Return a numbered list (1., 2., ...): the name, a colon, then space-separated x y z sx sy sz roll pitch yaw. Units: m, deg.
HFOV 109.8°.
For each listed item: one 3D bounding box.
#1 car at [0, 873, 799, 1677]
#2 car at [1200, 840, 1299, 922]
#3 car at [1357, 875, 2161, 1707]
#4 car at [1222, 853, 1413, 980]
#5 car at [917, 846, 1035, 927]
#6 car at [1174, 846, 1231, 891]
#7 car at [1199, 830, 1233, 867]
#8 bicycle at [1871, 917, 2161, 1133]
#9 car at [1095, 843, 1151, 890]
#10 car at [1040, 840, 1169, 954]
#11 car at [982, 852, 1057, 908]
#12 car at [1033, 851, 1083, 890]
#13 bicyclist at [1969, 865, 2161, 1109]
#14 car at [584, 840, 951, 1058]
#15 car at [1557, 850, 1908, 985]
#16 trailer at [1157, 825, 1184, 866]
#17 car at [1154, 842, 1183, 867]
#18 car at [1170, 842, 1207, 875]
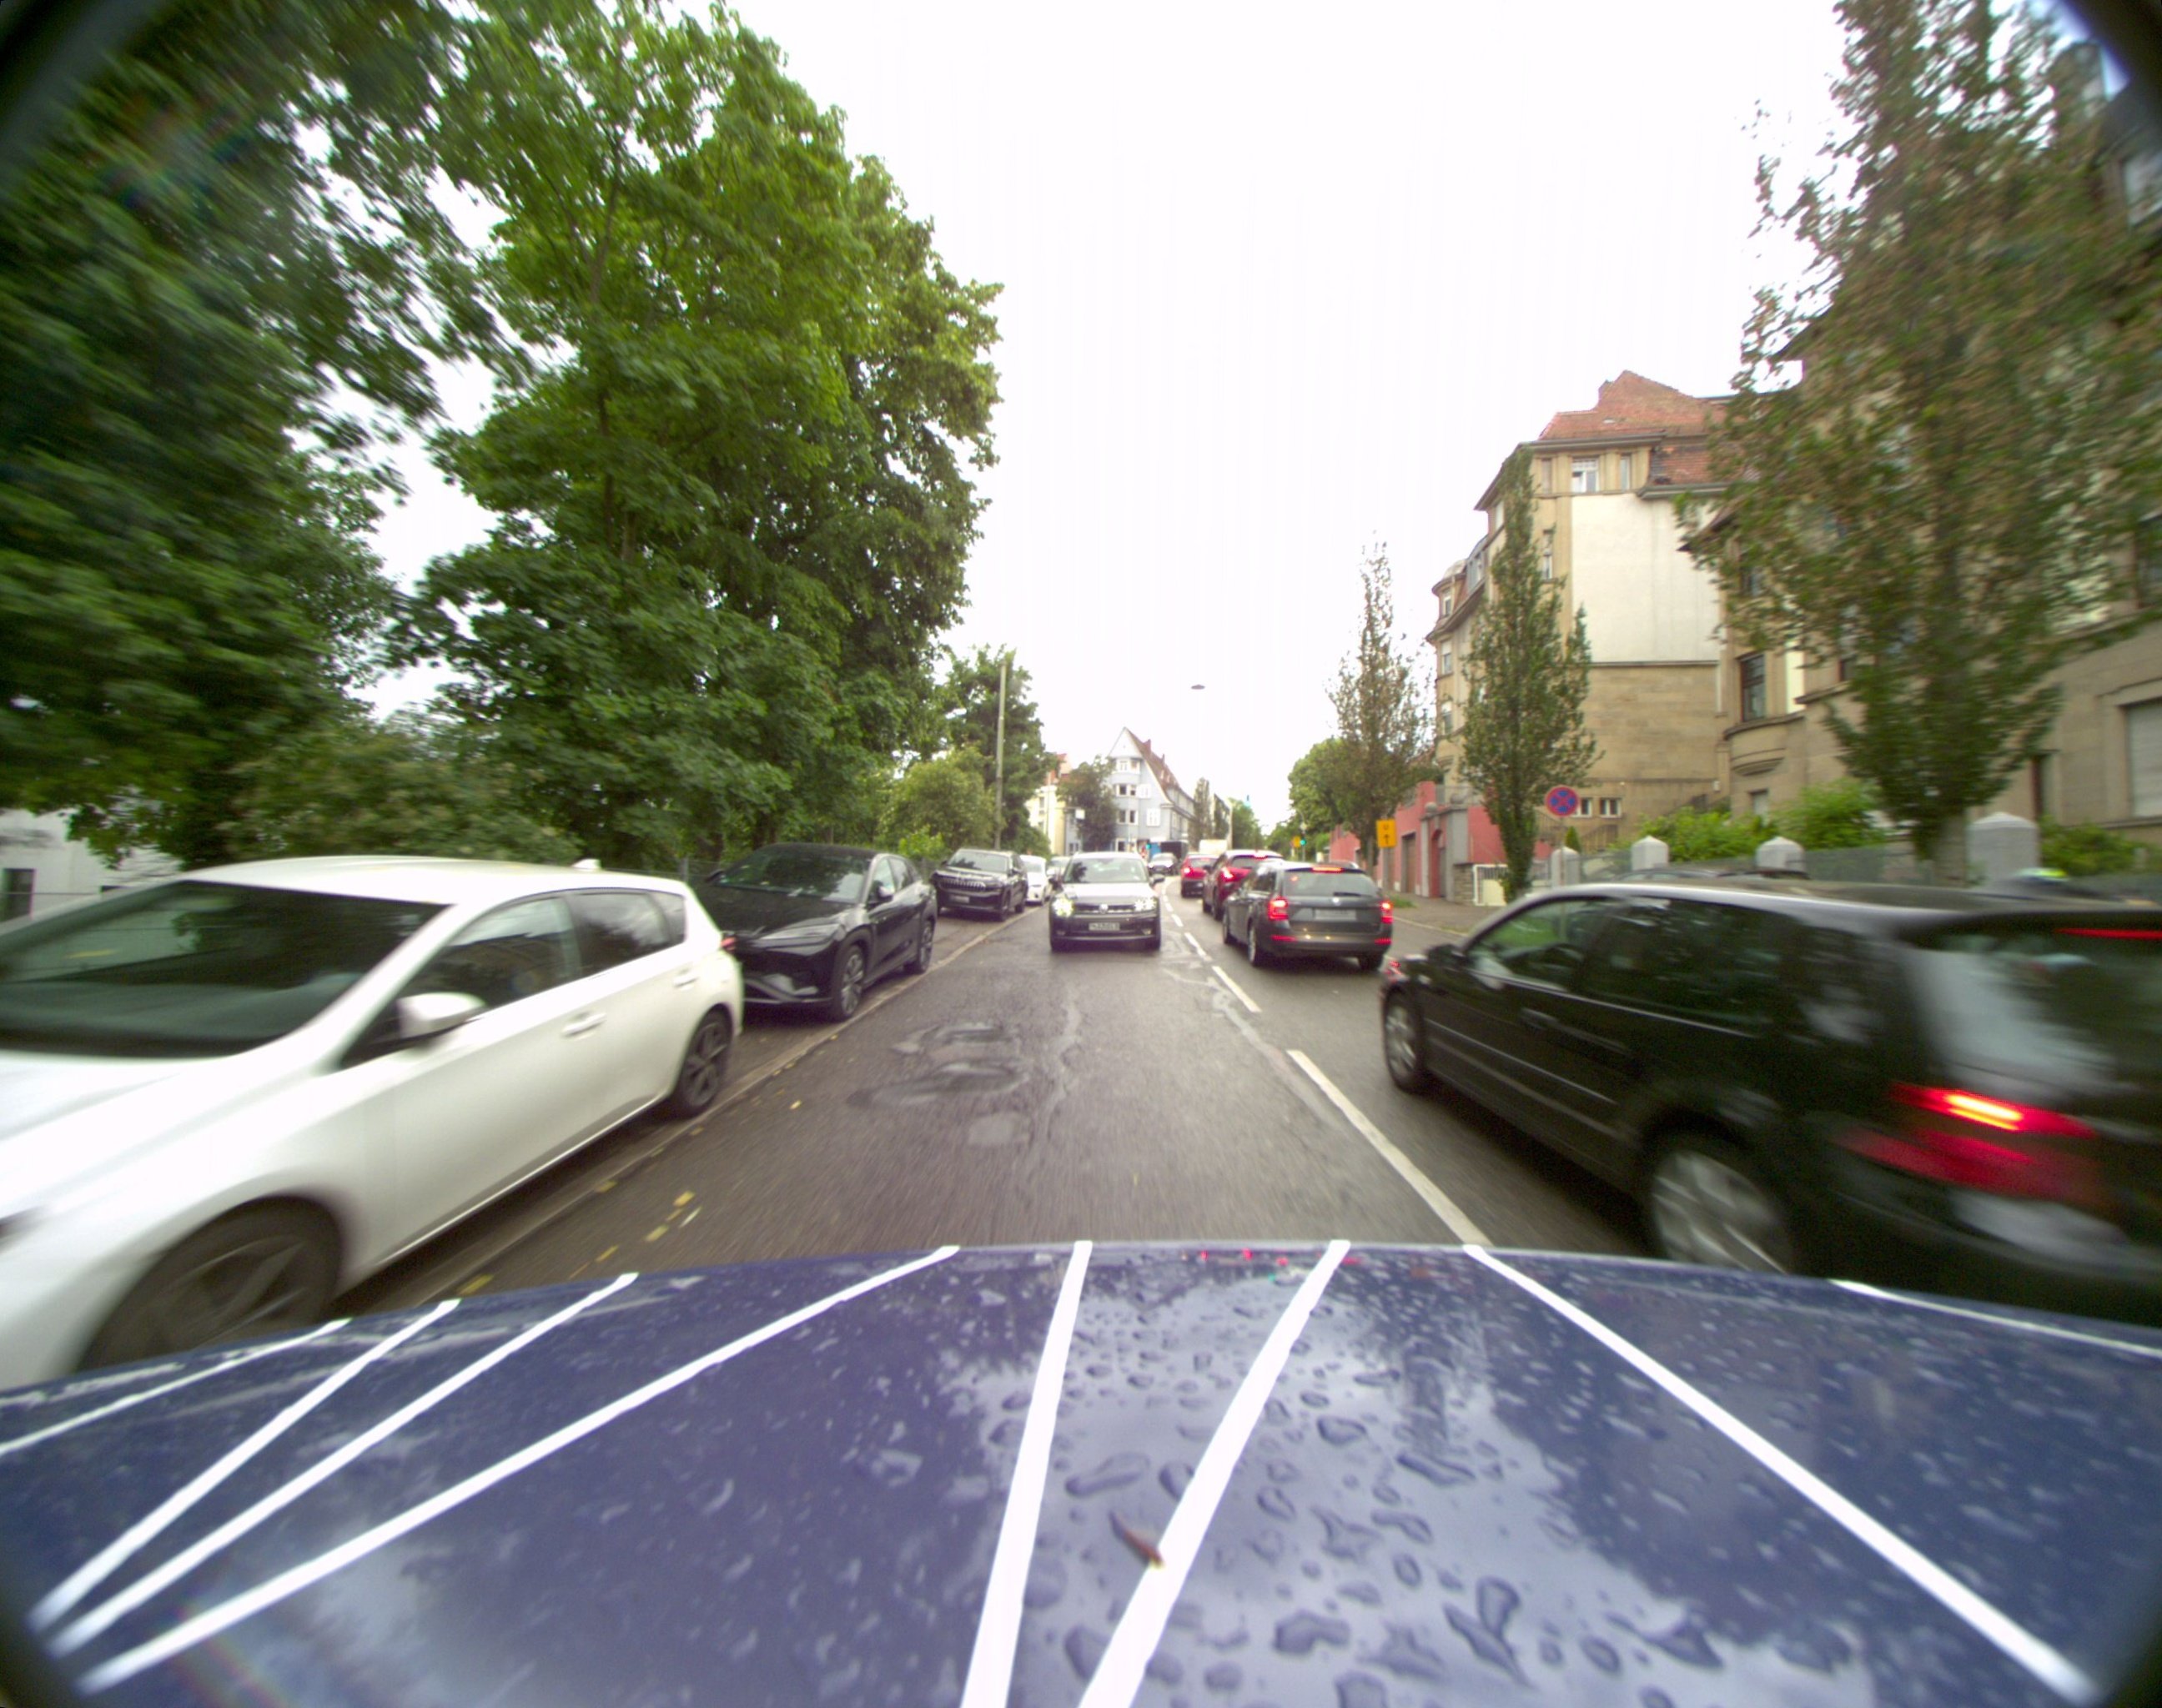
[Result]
1. car: -3.010 0.903 3.172 1.746 1.454 4.884 4 0 0
2. car: 3.978 0.570 18.572 1.656 1.698 4.114 2 1 3
3. car: 2.813 0.874 3.306 1.767 1.423 3.885 2 -1 0
4. car: 3.245 0.777 11.266 1.715 1.471 4.115 2 -1 3
5. car: -2.434 0.686 18.985 1.972 1.641 4.816 4 1 3
6. car: 4.477 0.536 28.465 1.622 1.515 4.115 2 -1 3
7. car: 9.846 -0.355 55.133 2.133 2.491 5.415 2 0 13
8. bicycle: 7.146 1.150 5.563 0.657 1.228 1.982 1 0 0
9. car: 1.720 0.487 29.533 1.924 1.641 4.488 -1 -1 6
10. car: 0.417 0.673 13.557 1.860 1.641 5.196 0 -1 2
11. car: -1.926 0.789 24.905 1.925 1.552 4.012 4 0 2
12. car: -0.976 0.716 34.587 1.925 1.552 4.013 4 0 2
13. bicyclist: 7.151 0.858 5.337 0.657 1.547 0.991 1 0 0
14. car: -2.962 0.790 8.596 1.925 1.641 4.884 4 0 2
15. car: 9.307 0.792 11.375 2.001 1.586 3.828 -3 0 2
16. trailer: 6.843 -0.627 57.942 1.966 3.023 2.366 -1 0 8
17. car: 6.362 0.041 54.854 1.924 1.641 4.137 -2 -1 8
18. car: 5.803 0.279 41.480 1.622 1.652 4.115 2 -1 4
